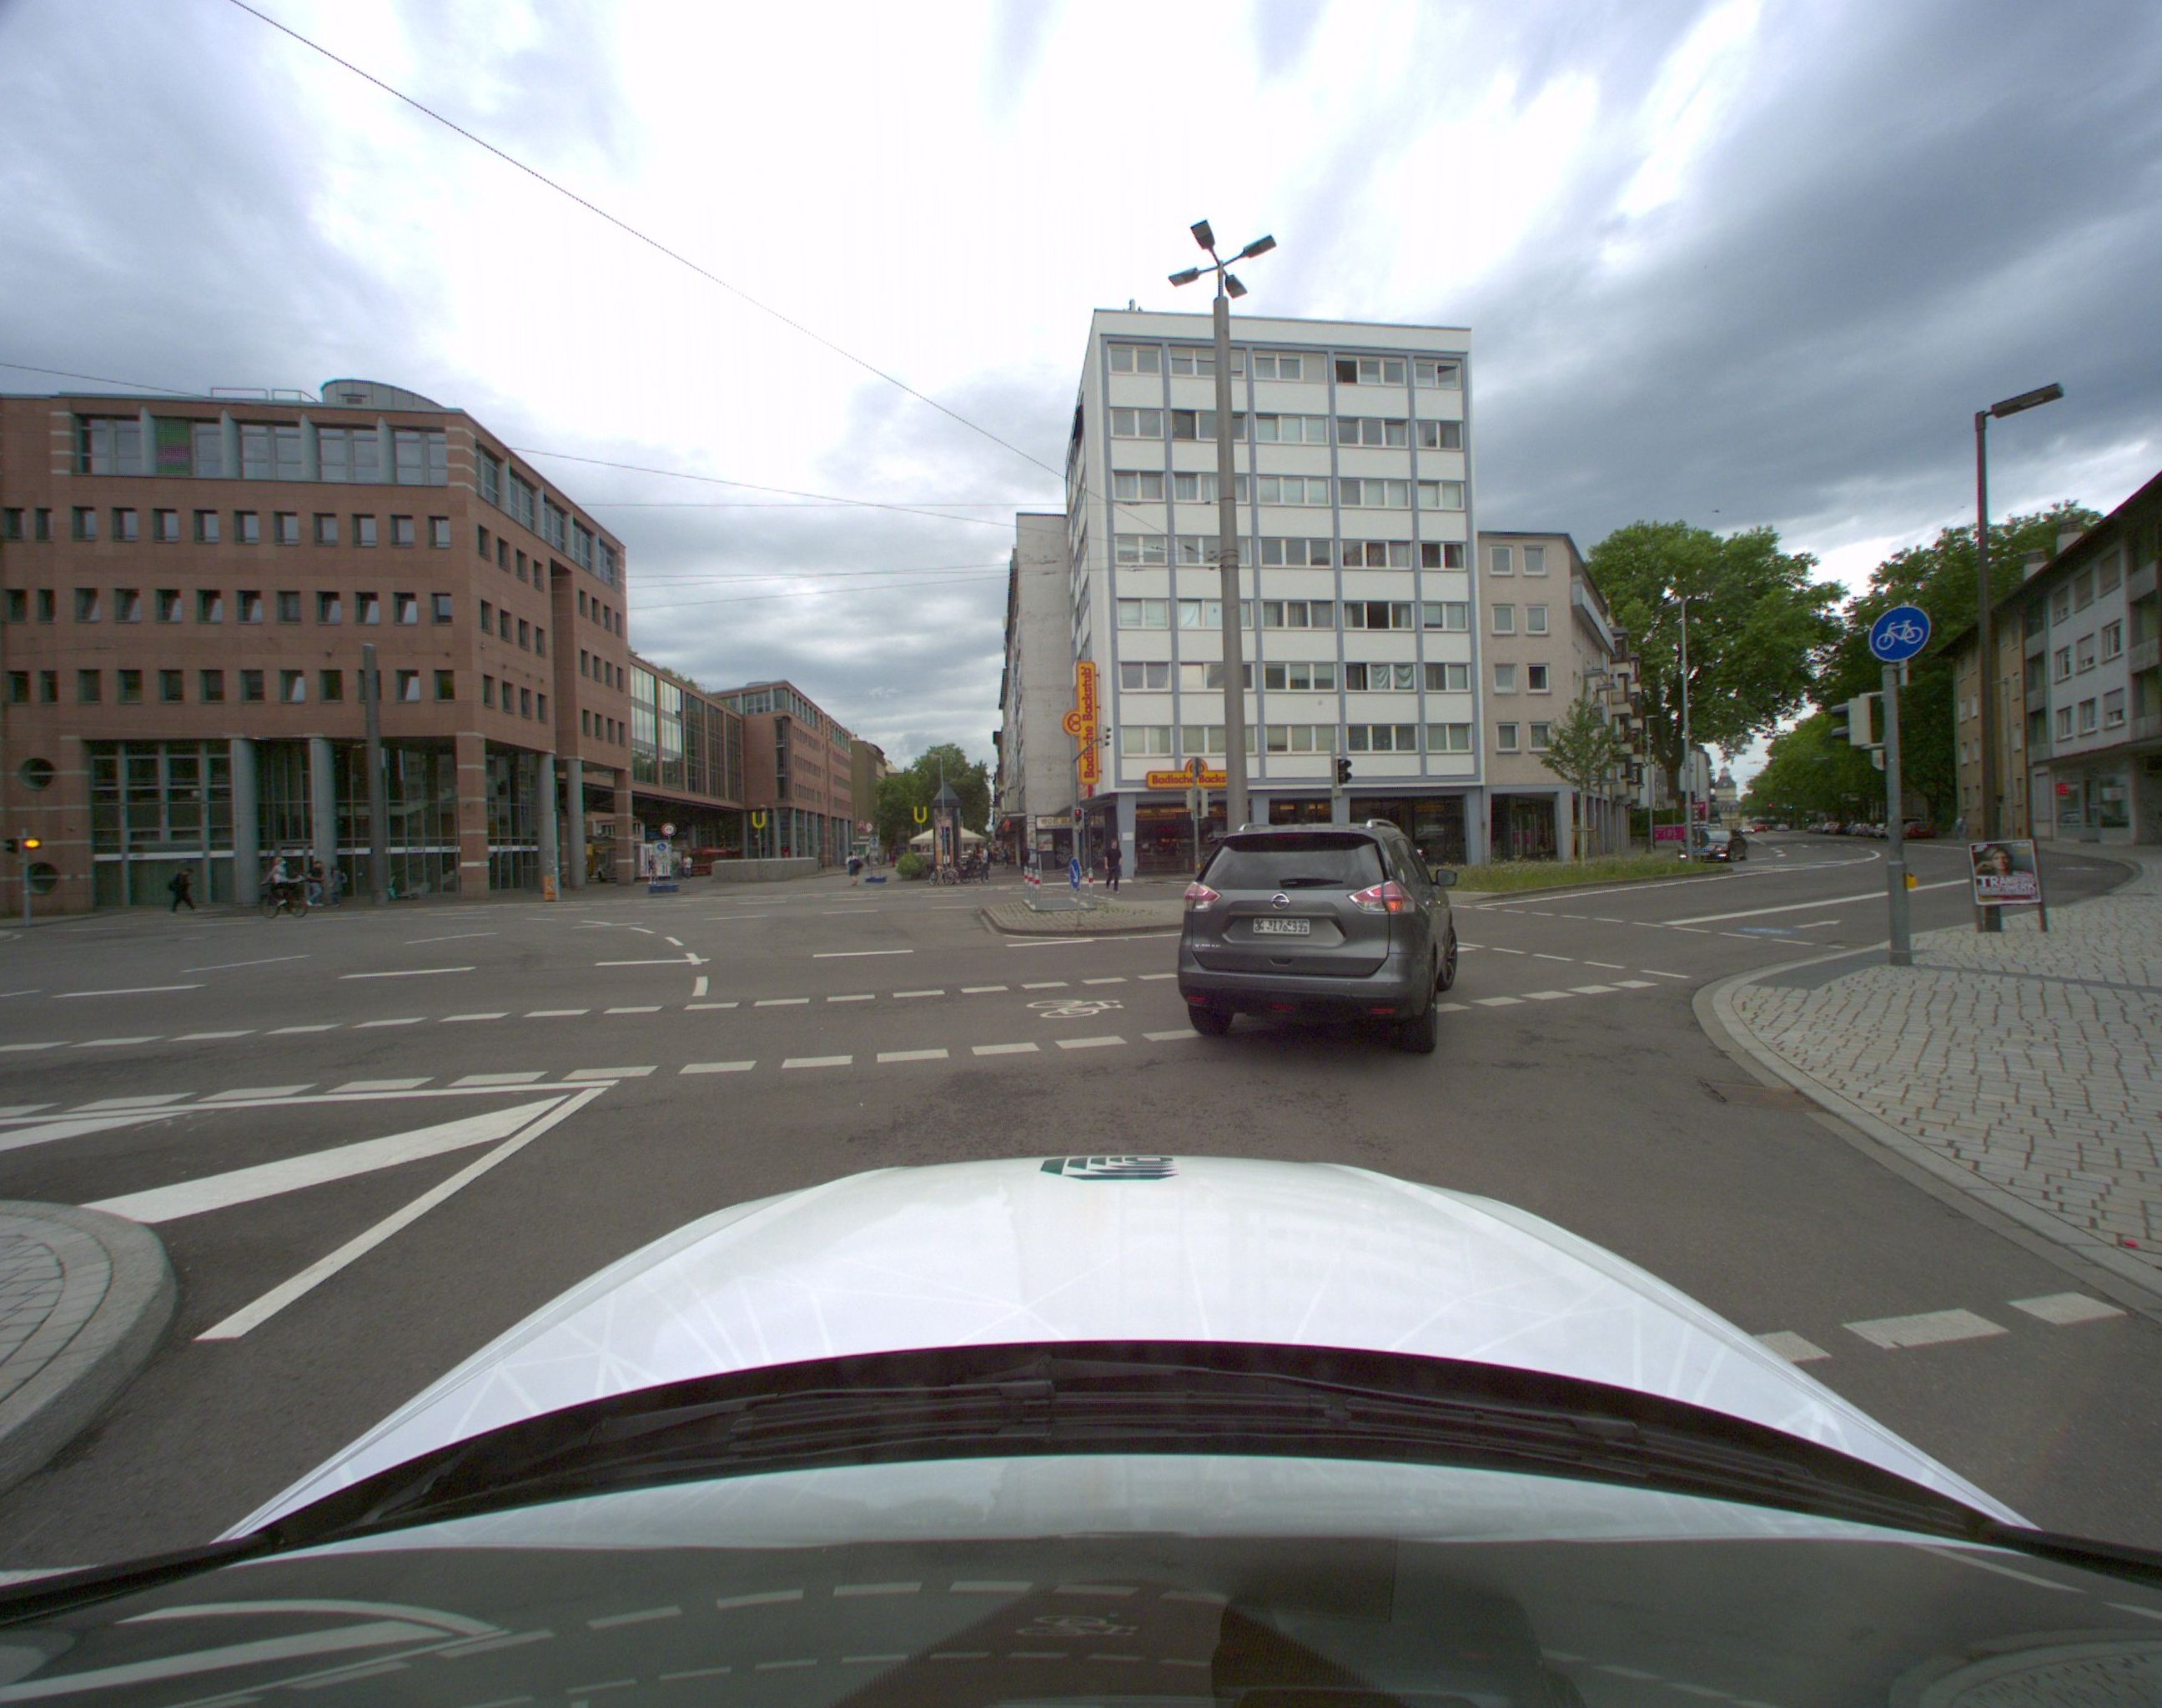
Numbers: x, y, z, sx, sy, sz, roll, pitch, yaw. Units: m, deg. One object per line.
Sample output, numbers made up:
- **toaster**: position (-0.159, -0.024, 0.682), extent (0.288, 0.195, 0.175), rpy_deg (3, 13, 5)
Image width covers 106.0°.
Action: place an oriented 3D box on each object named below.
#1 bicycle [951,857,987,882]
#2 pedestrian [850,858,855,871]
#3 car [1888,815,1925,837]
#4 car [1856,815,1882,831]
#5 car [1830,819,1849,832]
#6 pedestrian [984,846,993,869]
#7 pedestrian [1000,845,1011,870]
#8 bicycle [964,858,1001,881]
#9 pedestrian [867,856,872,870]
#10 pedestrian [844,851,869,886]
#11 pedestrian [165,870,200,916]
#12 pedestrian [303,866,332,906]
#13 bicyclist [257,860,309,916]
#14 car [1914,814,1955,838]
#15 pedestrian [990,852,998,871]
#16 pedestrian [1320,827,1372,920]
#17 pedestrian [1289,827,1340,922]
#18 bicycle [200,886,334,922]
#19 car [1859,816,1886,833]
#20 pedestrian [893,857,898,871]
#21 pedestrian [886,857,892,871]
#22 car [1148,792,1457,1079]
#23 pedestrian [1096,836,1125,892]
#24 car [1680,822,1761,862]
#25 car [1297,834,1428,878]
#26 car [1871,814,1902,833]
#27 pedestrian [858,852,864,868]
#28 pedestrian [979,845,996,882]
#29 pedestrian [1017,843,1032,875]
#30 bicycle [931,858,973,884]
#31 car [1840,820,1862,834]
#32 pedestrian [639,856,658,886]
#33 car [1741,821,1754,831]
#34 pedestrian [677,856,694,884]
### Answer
- **bicycle**: position (-5.421, 0.753, 39.325), extent (1.698, 1.171, 0.435), rpy_deg (-1, 0, -14)
- **pedestrian**: position (-30.630, 1.391, 109.252), extent (0.601, 1.714, 0.652), rpy_deg (-1, 0, -14)
- **car**: position (71.011, -2.402, 70.102), extent (1.845, 1.774, 4.009), rpy_deg (0, 2, 40)
- **car**: position (91.043, -3.567, 94.123), extent (1.845, 1.774, 4.009), rpy_deg (0, 2, 40)
- **car**: position (108.377, -4.095, 116.351), extent (1.845, 1.774, 4.009), rpy_deg (0, 2, 40)
- **pedestrian**: position (-6.929, 0.275, 61.230), extent (0.642, 1.705, 0.558), rpy_deg (-1, 0, -6)
- **pedestrian**: position (-5.543, 0.236, 60.021), extent (0.737, 1.821, 0.660), rpy_deg (-2, 0, -9)
- **bicycle**: position (-4.698, 0.746, 38.775), extent (1.690, 1.065, 0.437), rpy_deg (-1, 0, -1)
- **pedestrian**: position (-27.969, 1.191, 107.520), extent (0.601, 1.714, 0.652), rpy_deg (-1, 0, -14)
- **pedestrian**: position (-11.131, 0.690, 40.333), extent (0.919, 1.705, 0.737), rpy_deg (-1, 0, 13)
- **pedestrian**: position (-33.827, 1.468, 30.672), extent (0.747, 1.688, 0.568), rpy_deg (0, -2, -33)
- **pedestrian**: position (-30.714, 1.290, 32.772), extent (0.747, 1.560, 0.568), rpy_deg (0, -2, -33)
- **bicyclist**: position (-26.359, 1.101, 26.915), extent (0.873, 1.812, 0.835), rpy_deg (-1, 0, -5)
- **car**: position (66.910, -2.206, 63.905), extent (1.845, 1.774, 4.009), rpy_deg (0, 2, 40)
- **pedestrian**: position (-7.931, 0.674, 74.283), extent (0.611, 1.705, 0.618), rpy_deg (-1, 0, -6)
- **pedestrian**: position (5.144, 0.362, 15.836), extent (0.622, 1.761, 0.776), rpy_deg (-1, 0, -14)
- **pedestrian**: position (4.478, 0.377, 15.680), extent (0.622, 1.761, 0.776), rpy_deg (-1, 0, -14)
- **bicycle**: position (-26.811, 1.633, 26.881), extent (3.262, 1.045, 0.903), rpy_deg (-1, 0, -6)
- **car**: position (87.468, -3.273, 90.044), extent (1.845, 1.774, 4.009), rpy_deg (0, 2, 40)
- **pedestrian**: position (-21.862, 1.165, 95.909), extent (0.601, 1.714, 0.652), rpy_deg (-1, 0, -14)
- **pedestrian**: position (-22.570, 1.176, 95.707), extent (0.601, 1.714, 0.652), rpy_deg (-1, 0, -14)
- **car**: position (2.350, 0.493, 7.494), extent (1.846, 1.775, 4.594), rpy_deg (-1, 0, 27)
- **pedestrian**: position (0.992, 0.331, 27.487), extent (0.714, 1.832, 1.012), rpy_deg (-1, 0, -14)
- **car**: position (26.542, -0.500, 33.760), extent (4.591, 1.481, 1.728), rpy_deg (-3, 0, -40)
- **car**: position (10.995, 0.085, 31.913), extent (4.551, 1.481, 1.743), rpy_deg (-3, 0, -10)
- **car**: position (78.649, -2.943, 79.524), extent (1.845, 1.774, 4.009), rpy_deg (0, 2, 40)
- **pedestrian**: position (-21.183, 0.596, 78.402), extent (0.601, 1.536, 0.652), rpy_deg (-1, 0, -14)
- **pedestrian**: position (-4.412, 0.433, 38.450), extent (0.733, 1.745, 0.660), rpy_deg (-1, 0, -15)
- **pedestrian**: position (-3.078, 0.257, 44.413), extent (0.706, 1.705, 0.735), rpy_deg (-1, 0, 6)
- **bicycle**: position (-6.093, 0.808, 38.540), extent (1.874, 1.171, 0.527), rpy_deg (-1, 0, -21)
- **car**: position (98.437, -3.464, 104.146), extent (1.845, 1.774, 4.009), rpy_deg (0, 2, 40)
- **pedestrian**: position (-26.545, 1.028, 49.979), extent (0.695, 1.842, 0.737), rpy_deg (-1, 0, 13)
- **car**: position (120.655, -5.102, 147.416), extent (1.845, 1.774, 4.009), rpy_deg (0, 2, 40)
- **pedestrian**: position (-26.324, 1.084, 54.246), extent (0.695, 1.842, 0.737), rpy_deg (-1, 0, 13)
